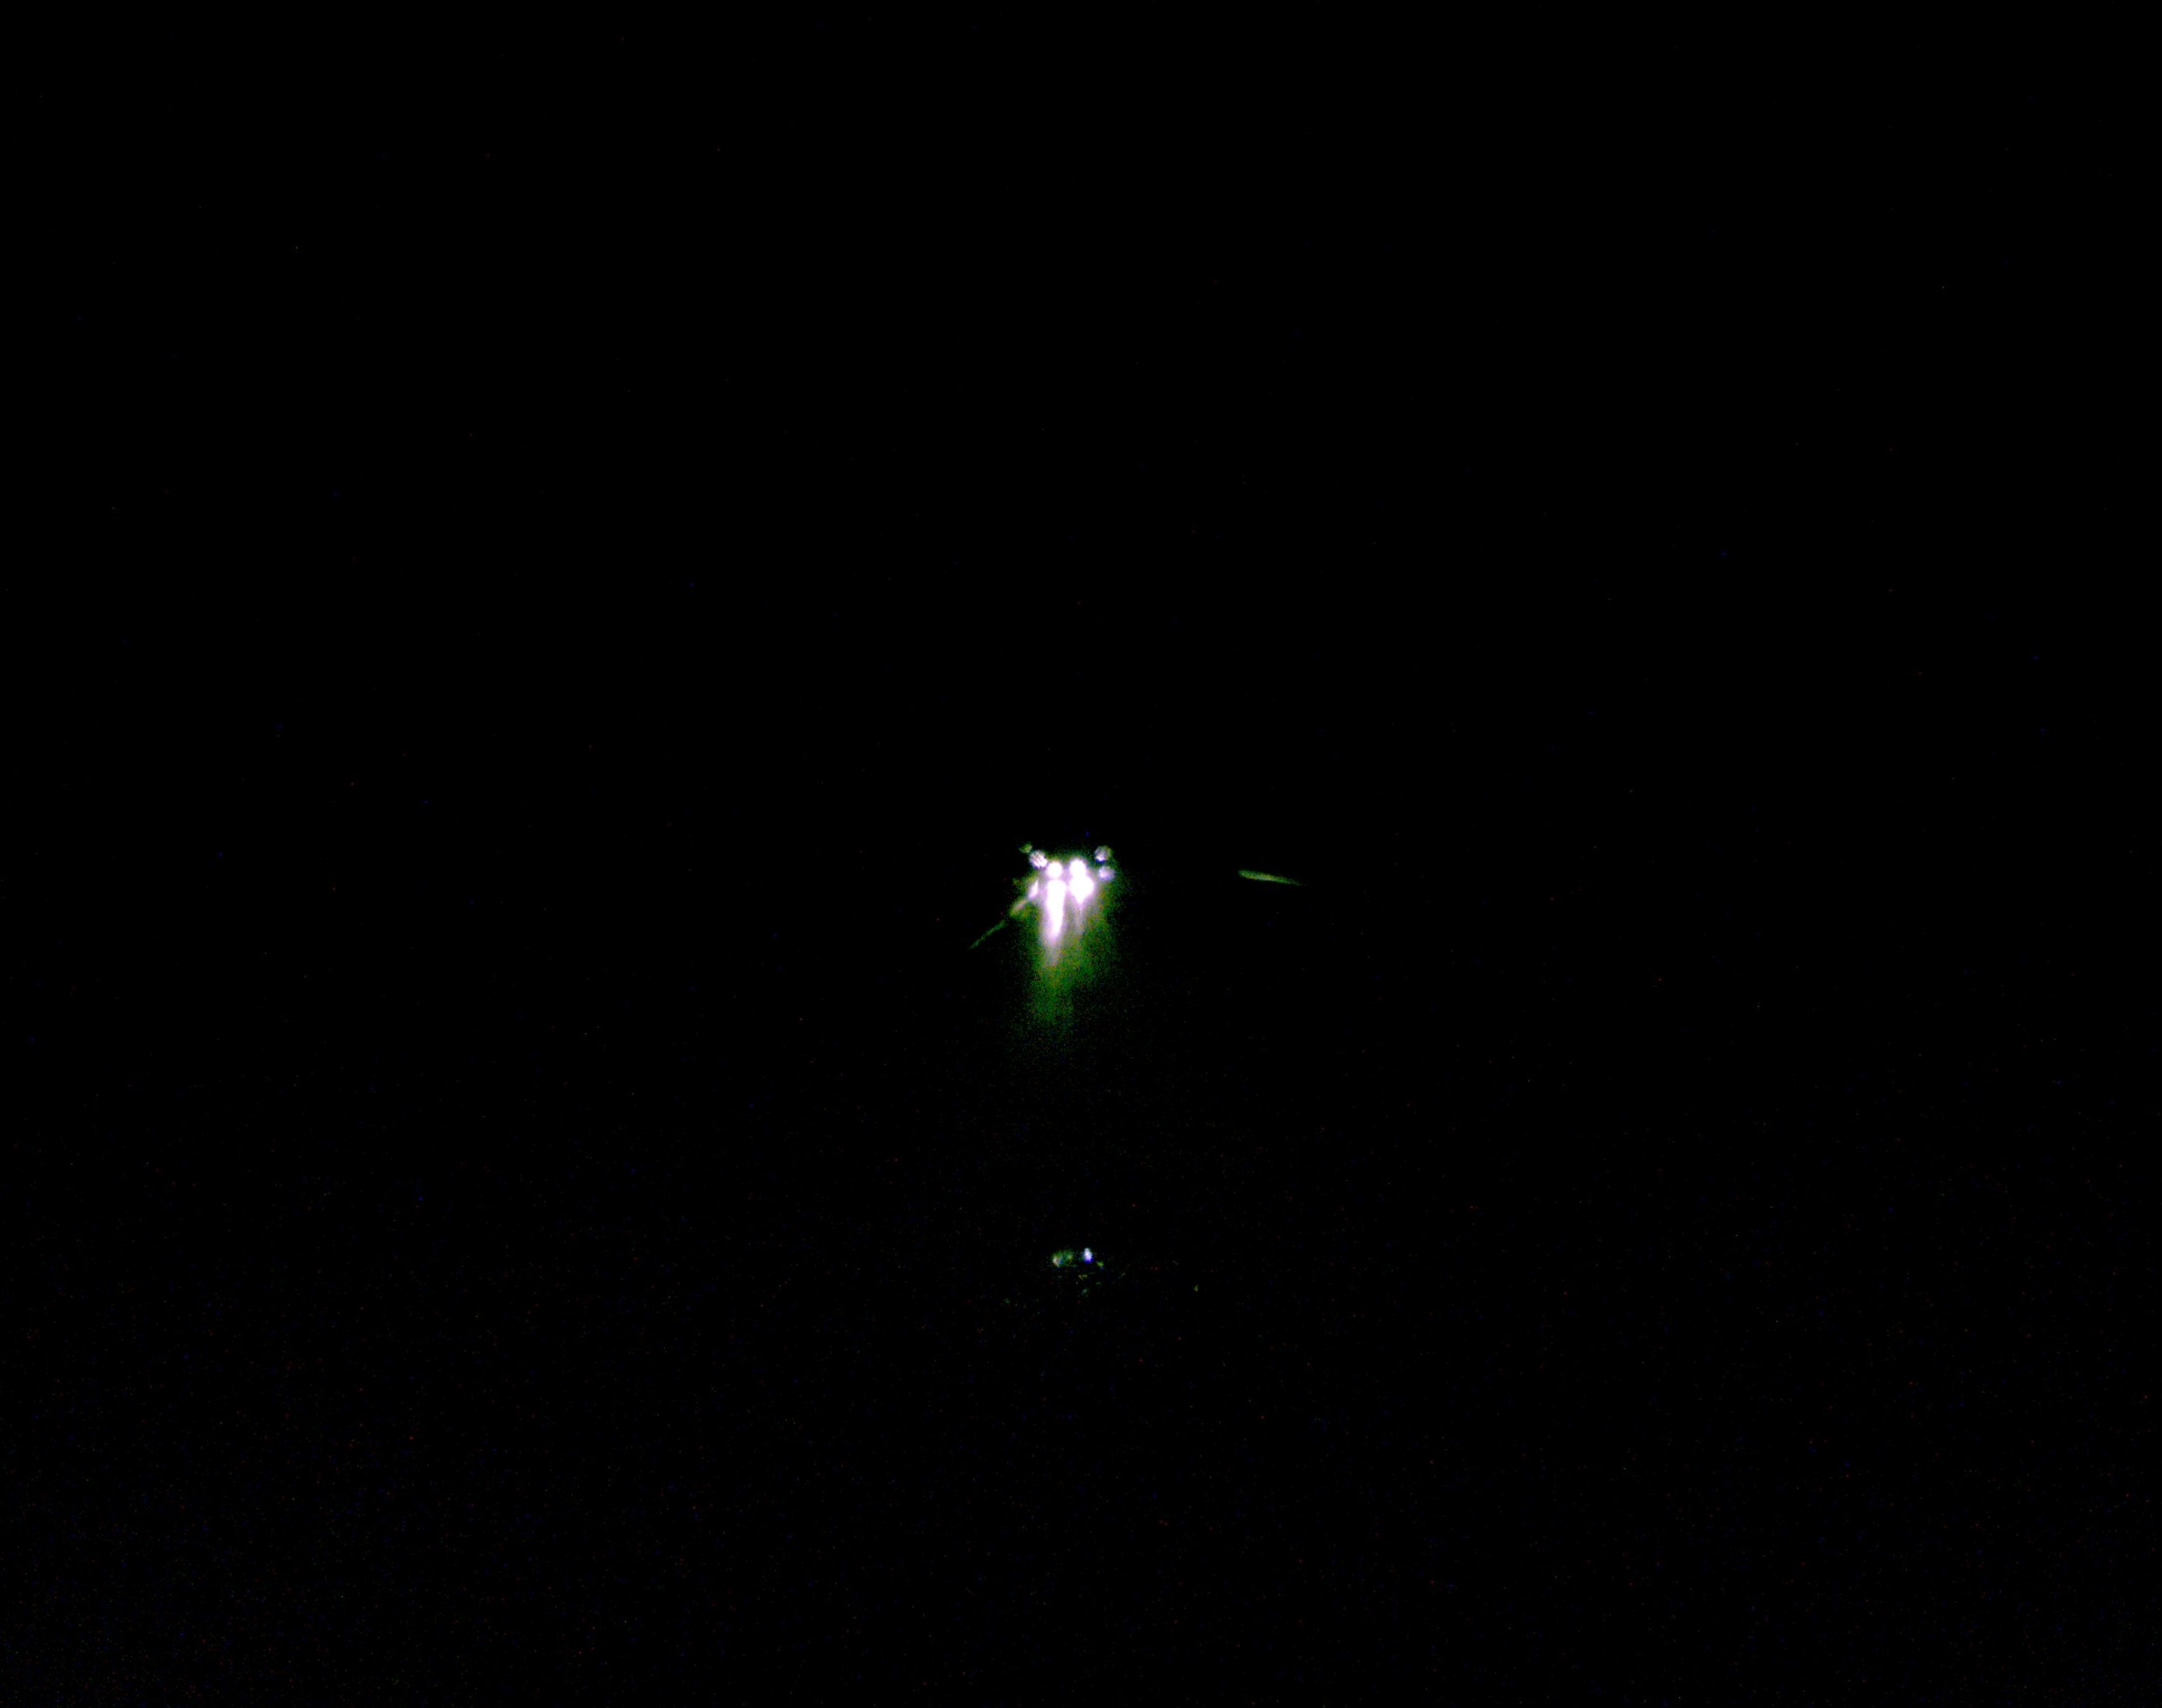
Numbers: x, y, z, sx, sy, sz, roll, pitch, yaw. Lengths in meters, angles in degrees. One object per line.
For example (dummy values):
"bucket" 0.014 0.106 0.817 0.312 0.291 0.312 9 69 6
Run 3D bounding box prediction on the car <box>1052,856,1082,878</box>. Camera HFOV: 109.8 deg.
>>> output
"car" -1.035 0.904 54.090 1.777 1.444 4.134 -3 0 -6
